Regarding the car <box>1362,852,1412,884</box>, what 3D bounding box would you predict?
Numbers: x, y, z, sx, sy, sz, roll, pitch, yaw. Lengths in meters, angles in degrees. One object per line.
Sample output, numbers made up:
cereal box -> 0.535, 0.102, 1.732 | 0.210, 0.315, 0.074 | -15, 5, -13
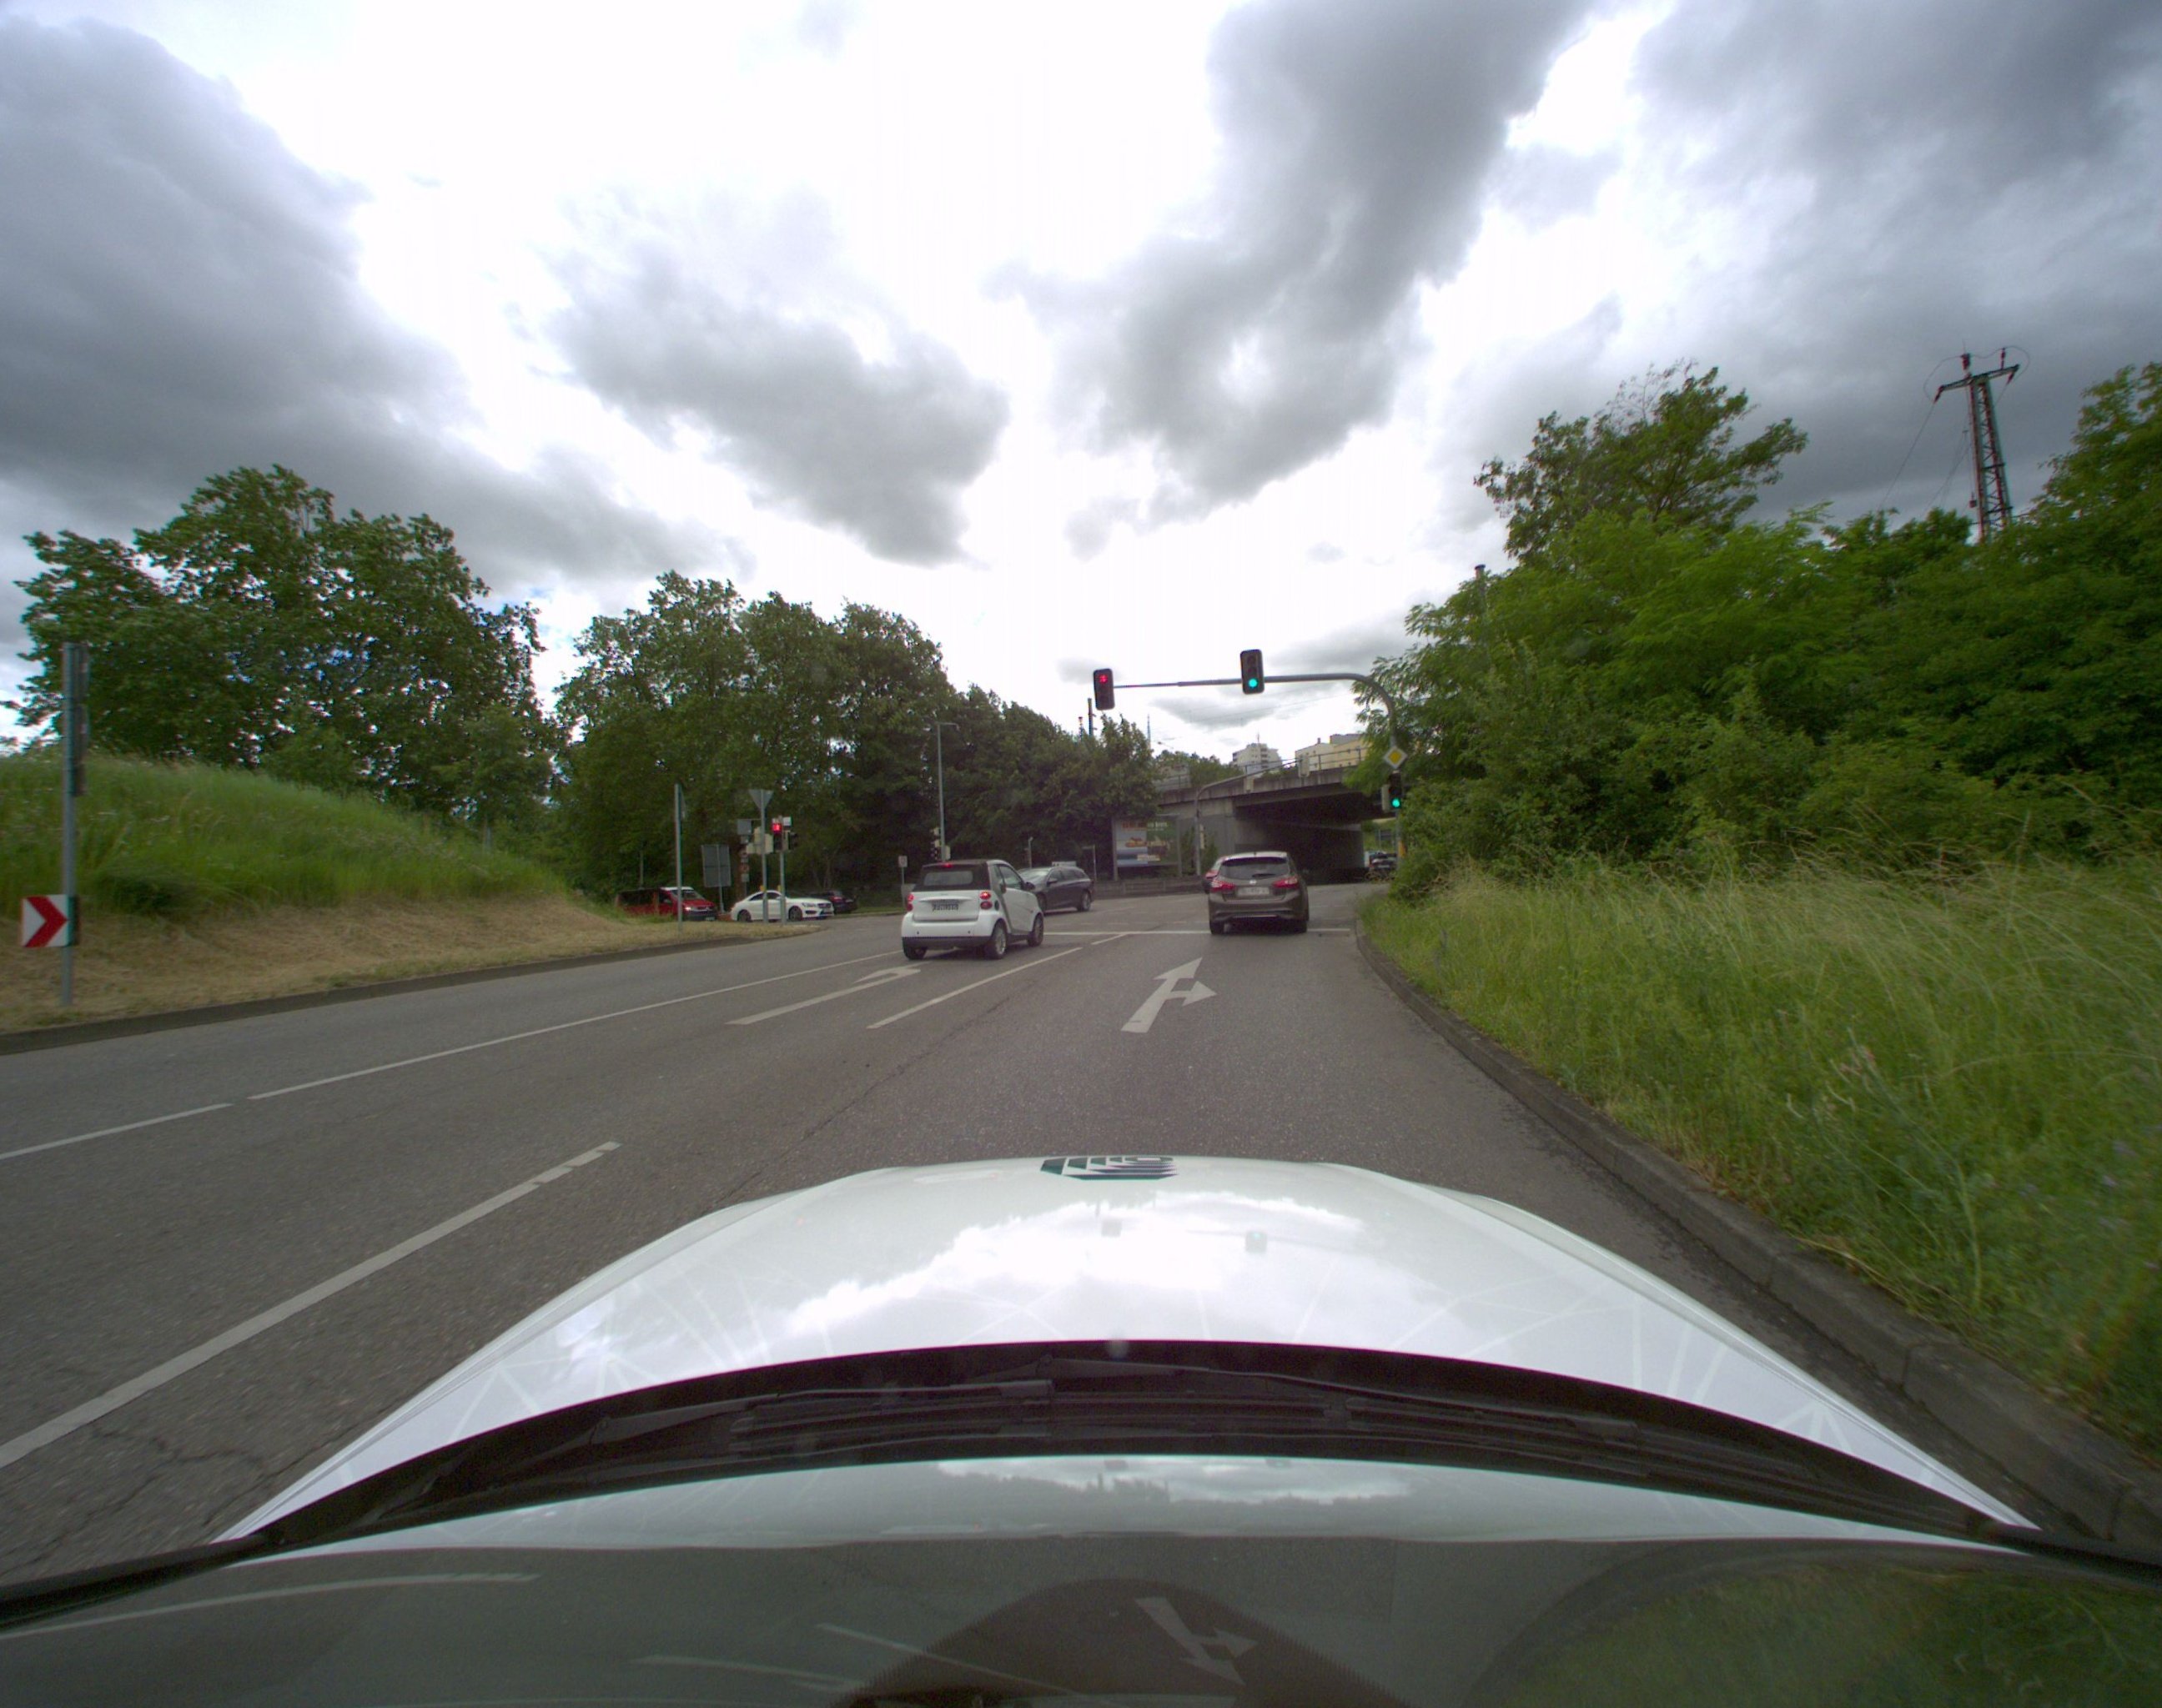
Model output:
car -> 15.148, 0.696, 40.151 | 1.882, 1.466, 4.023 | 1, 0, 27

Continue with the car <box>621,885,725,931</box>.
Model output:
car -> -18.401, 2.424, 36.745 | 3.992, 1.813, 1.864 | -4, -2, 20

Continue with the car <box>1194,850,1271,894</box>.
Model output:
car -> 7.208, 0.815, 38.329 | 1.671, 1.825, 4.756 | -4, -1, 35

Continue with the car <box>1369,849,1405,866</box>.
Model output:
car -> 39.726, 0.432, 105.812 | 3.948, 1.948, 2.013 | -4, -2, 35

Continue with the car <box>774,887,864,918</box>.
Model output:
car -> -13.531, 2.501, 42.113 | 3.996, 1.451, 1.862 | -2, -3, 14

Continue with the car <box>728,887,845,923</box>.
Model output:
car -> -12.508, 2.167, 34.639 | 4.368, 1.339, 2.010 | -4, -4, 20

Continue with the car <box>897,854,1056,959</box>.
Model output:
car -> -1.646, 0.791, 13.746 | 1.563, 1.557, 3.029 | -1, 0, 16

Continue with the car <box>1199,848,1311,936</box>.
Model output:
car -> 3.602, 0.678, 16.350 | 1.830, 1.493, 4.017 | -3, 0, 16

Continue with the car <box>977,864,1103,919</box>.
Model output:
car -> -1.126, 1.101, 24.990 | 1.748, 1.420, 4.448 | -3, -1, 28
